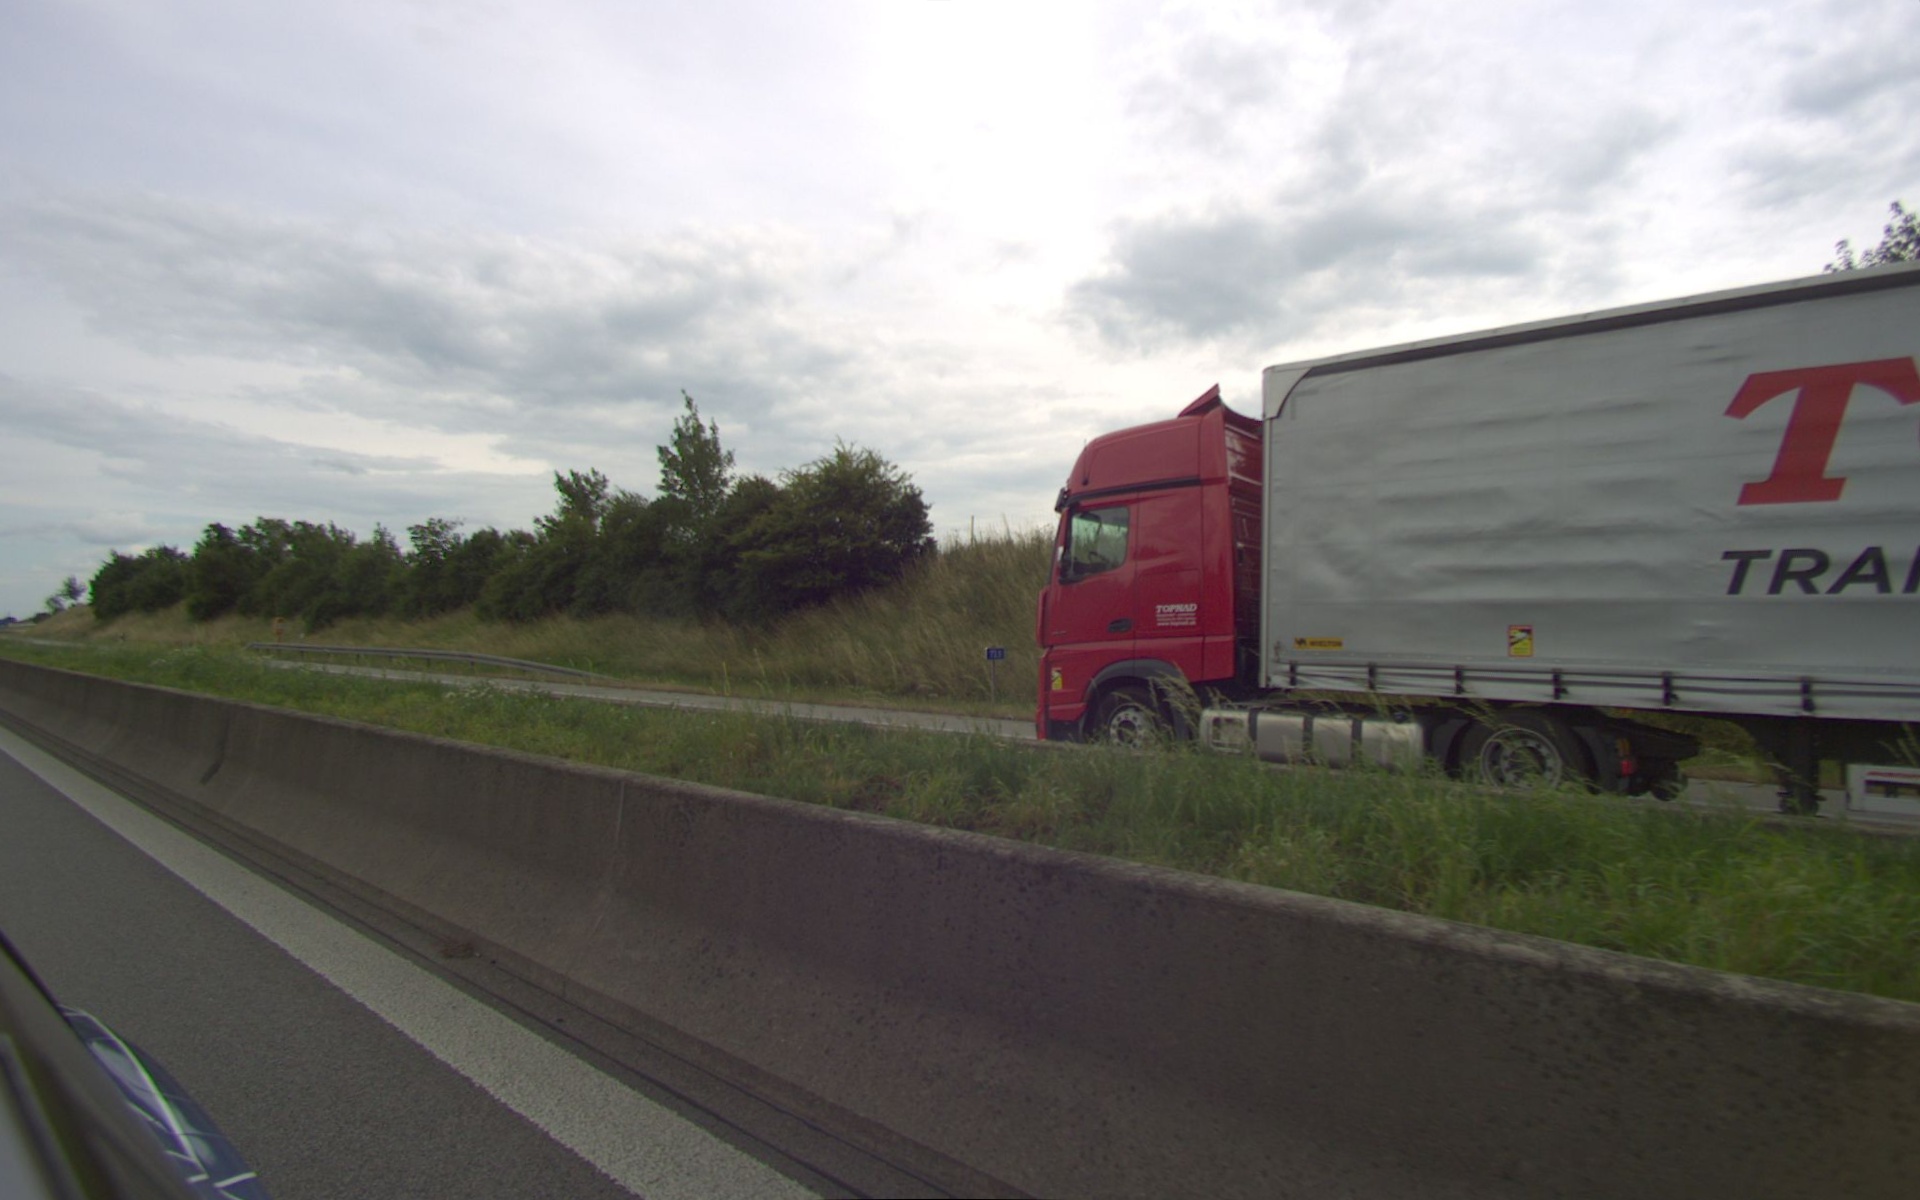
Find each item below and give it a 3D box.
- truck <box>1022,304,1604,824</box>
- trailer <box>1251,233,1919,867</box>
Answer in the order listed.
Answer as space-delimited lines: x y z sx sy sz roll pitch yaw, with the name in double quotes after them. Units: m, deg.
3.525 -0.178 10.711 5.162 4.120 2.678 -2 -4 41 "truck"
9.113 -0.347 5.802 14.589 4.120 2.678 -2 -4 41 "trailer"
